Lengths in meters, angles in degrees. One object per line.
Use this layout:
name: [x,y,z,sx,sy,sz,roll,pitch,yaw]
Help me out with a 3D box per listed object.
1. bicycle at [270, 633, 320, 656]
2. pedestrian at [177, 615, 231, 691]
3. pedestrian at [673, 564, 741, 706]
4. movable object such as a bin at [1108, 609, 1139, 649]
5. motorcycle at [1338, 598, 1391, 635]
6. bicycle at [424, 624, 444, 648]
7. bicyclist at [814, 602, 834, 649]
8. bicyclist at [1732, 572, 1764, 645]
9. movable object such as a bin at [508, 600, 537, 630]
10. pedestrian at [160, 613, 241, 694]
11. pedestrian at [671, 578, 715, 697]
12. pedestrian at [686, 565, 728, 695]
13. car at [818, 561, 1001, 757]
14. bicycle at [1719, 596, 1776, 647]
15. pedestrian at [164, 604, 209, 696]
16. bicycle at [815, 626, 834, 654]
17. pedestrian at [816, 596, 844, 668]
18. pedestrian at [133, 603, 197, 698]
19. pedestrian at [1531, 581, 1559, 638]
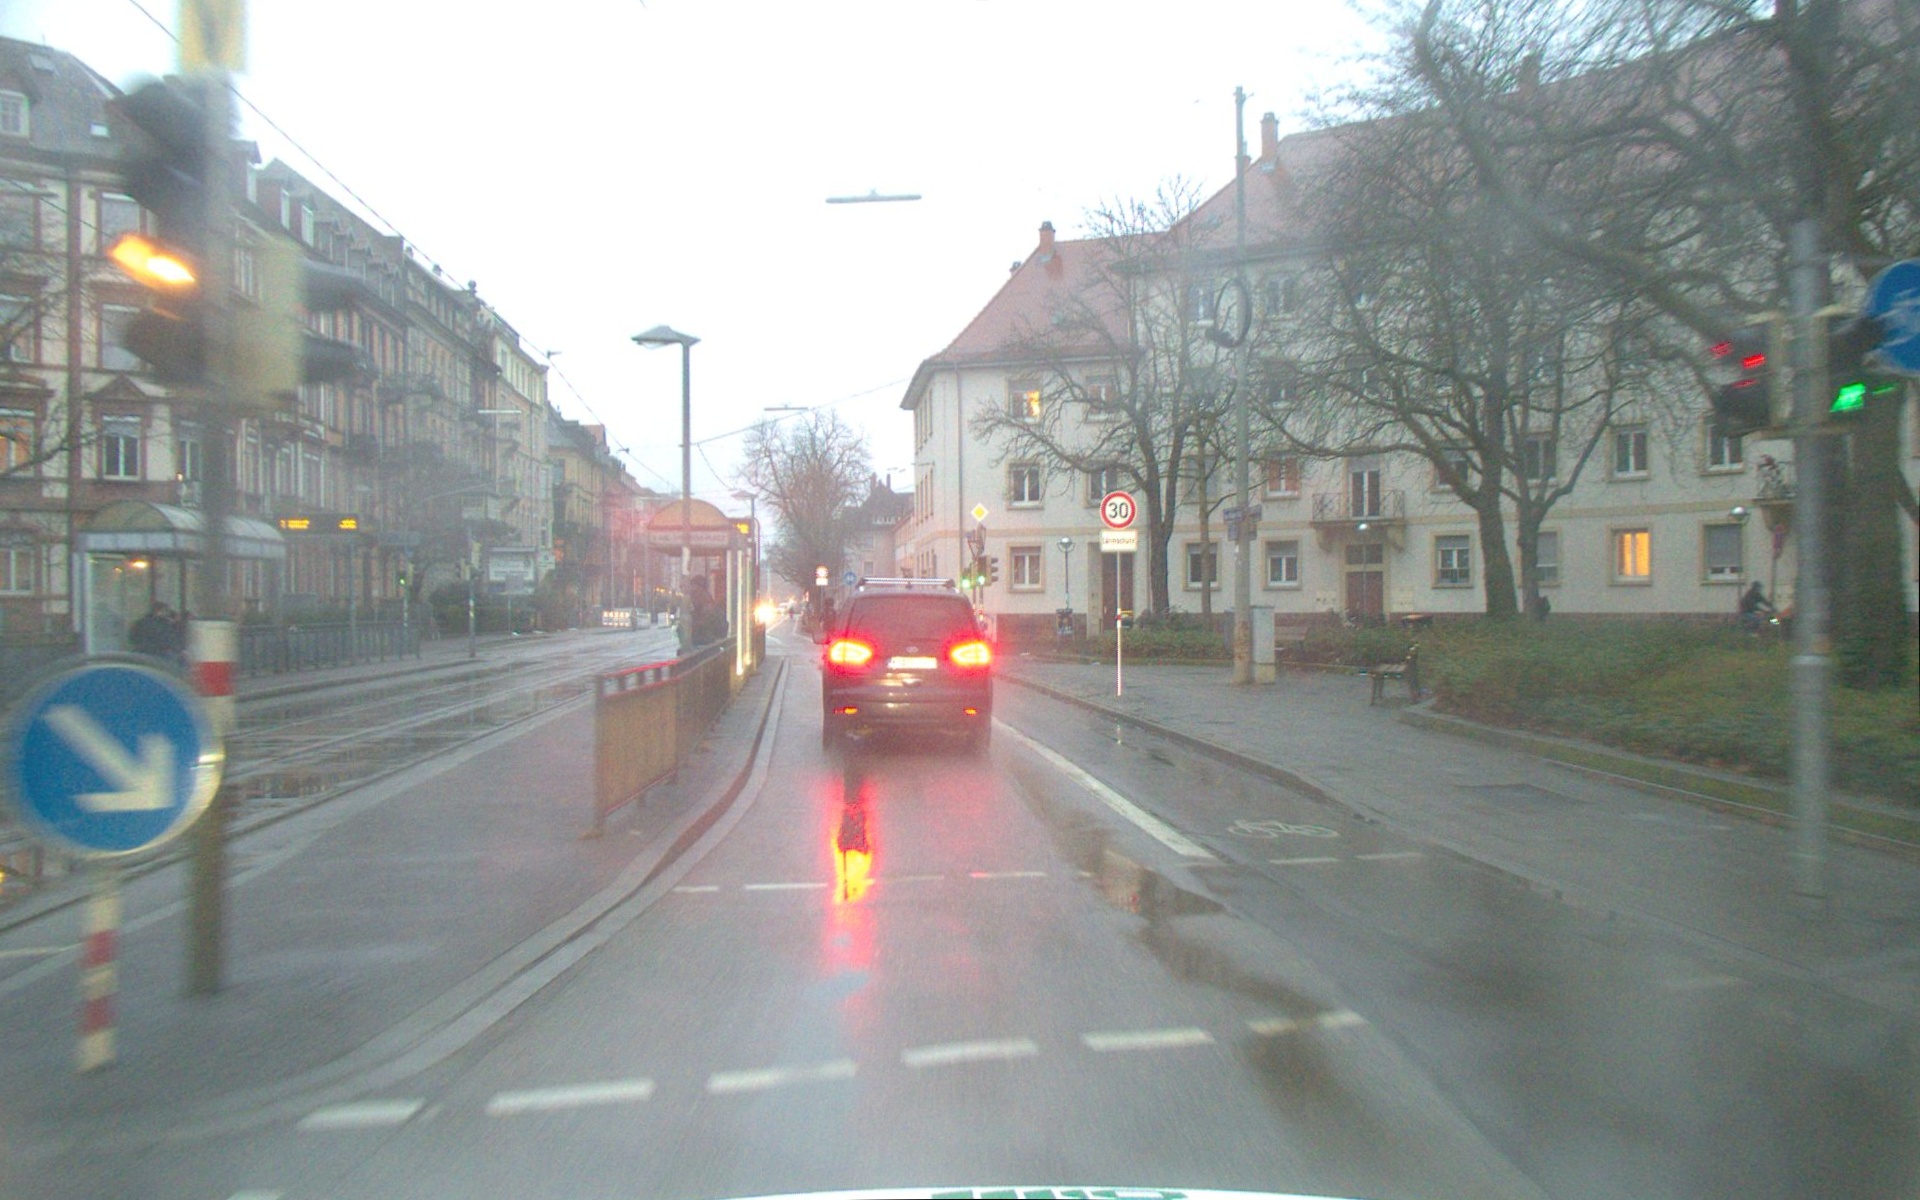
bicycle: [-24.137,1.619,60.049,0.392,0.772,1.807,-1,0,30]
pedestrian: [-12.684,0.889,27.763,0.640,1.239,0.516,3,-1,-6]
pedestrian: [-3.645,0.503,23.858,0.837,1.990,0.570,3,-1,-5]
movable object such as a bin: [5.433,0.971,55.064,0.837,1.273,0.520,2,-1,37]
motorcycle: [12.823,0.517,52.446,0.565,1.124,1.579,-3,2,-41]
bicycle: [-22.610,1.537,71.074,0.408,1.024,1.847,-1,0,-4]
bicyclist: [-5.143,0.972,62.607,0.716,1.767,0.765,0,-1,-5]
bicyclist: [20.838,0.223,43.754,0.457,1.919,0.678,0,-1,-6]
movable object such as a bin: [-24.181,0.825,91.484,1.219,1.613,1.307,1,-1,-1]
pedestrian: [-12.505,0.870,27.244,1.035,1.276,0.506,3,-1,-6]
pedestrian: [-4.069,0.569,25.250,0.546,1.771,0.570,3,-1,-5]
pedestrian: [-4.030,0.471,26.373,0.546,2.022,0.570,3,-1,-5]
car: [-0.647,0.616,18.666,1.766,1.903,4.014,3,-1,-4]
bicycle: [20.826,0.563,43.777,0.457,1.314,1.912,0,0,-5]
pedestrian: [-12.231,0.781,26.167,0.464,1.428,0.453,3,-1,-6]
bicycle: [-5.124,1.490,62.480,0.717,1.024,1.762,0,-1,-4]
pedestrian: [-3.645,0.893,46.342,0.701,1.951,0.688,3,-1,-4]
pedestrian: [-12.331,0.770,25.653,0.671,1.428,0.577,3,-1,-6]
pedestrian: [17.499,0.297,49.456,0.699,1.689,0.687,-1,0,28]
